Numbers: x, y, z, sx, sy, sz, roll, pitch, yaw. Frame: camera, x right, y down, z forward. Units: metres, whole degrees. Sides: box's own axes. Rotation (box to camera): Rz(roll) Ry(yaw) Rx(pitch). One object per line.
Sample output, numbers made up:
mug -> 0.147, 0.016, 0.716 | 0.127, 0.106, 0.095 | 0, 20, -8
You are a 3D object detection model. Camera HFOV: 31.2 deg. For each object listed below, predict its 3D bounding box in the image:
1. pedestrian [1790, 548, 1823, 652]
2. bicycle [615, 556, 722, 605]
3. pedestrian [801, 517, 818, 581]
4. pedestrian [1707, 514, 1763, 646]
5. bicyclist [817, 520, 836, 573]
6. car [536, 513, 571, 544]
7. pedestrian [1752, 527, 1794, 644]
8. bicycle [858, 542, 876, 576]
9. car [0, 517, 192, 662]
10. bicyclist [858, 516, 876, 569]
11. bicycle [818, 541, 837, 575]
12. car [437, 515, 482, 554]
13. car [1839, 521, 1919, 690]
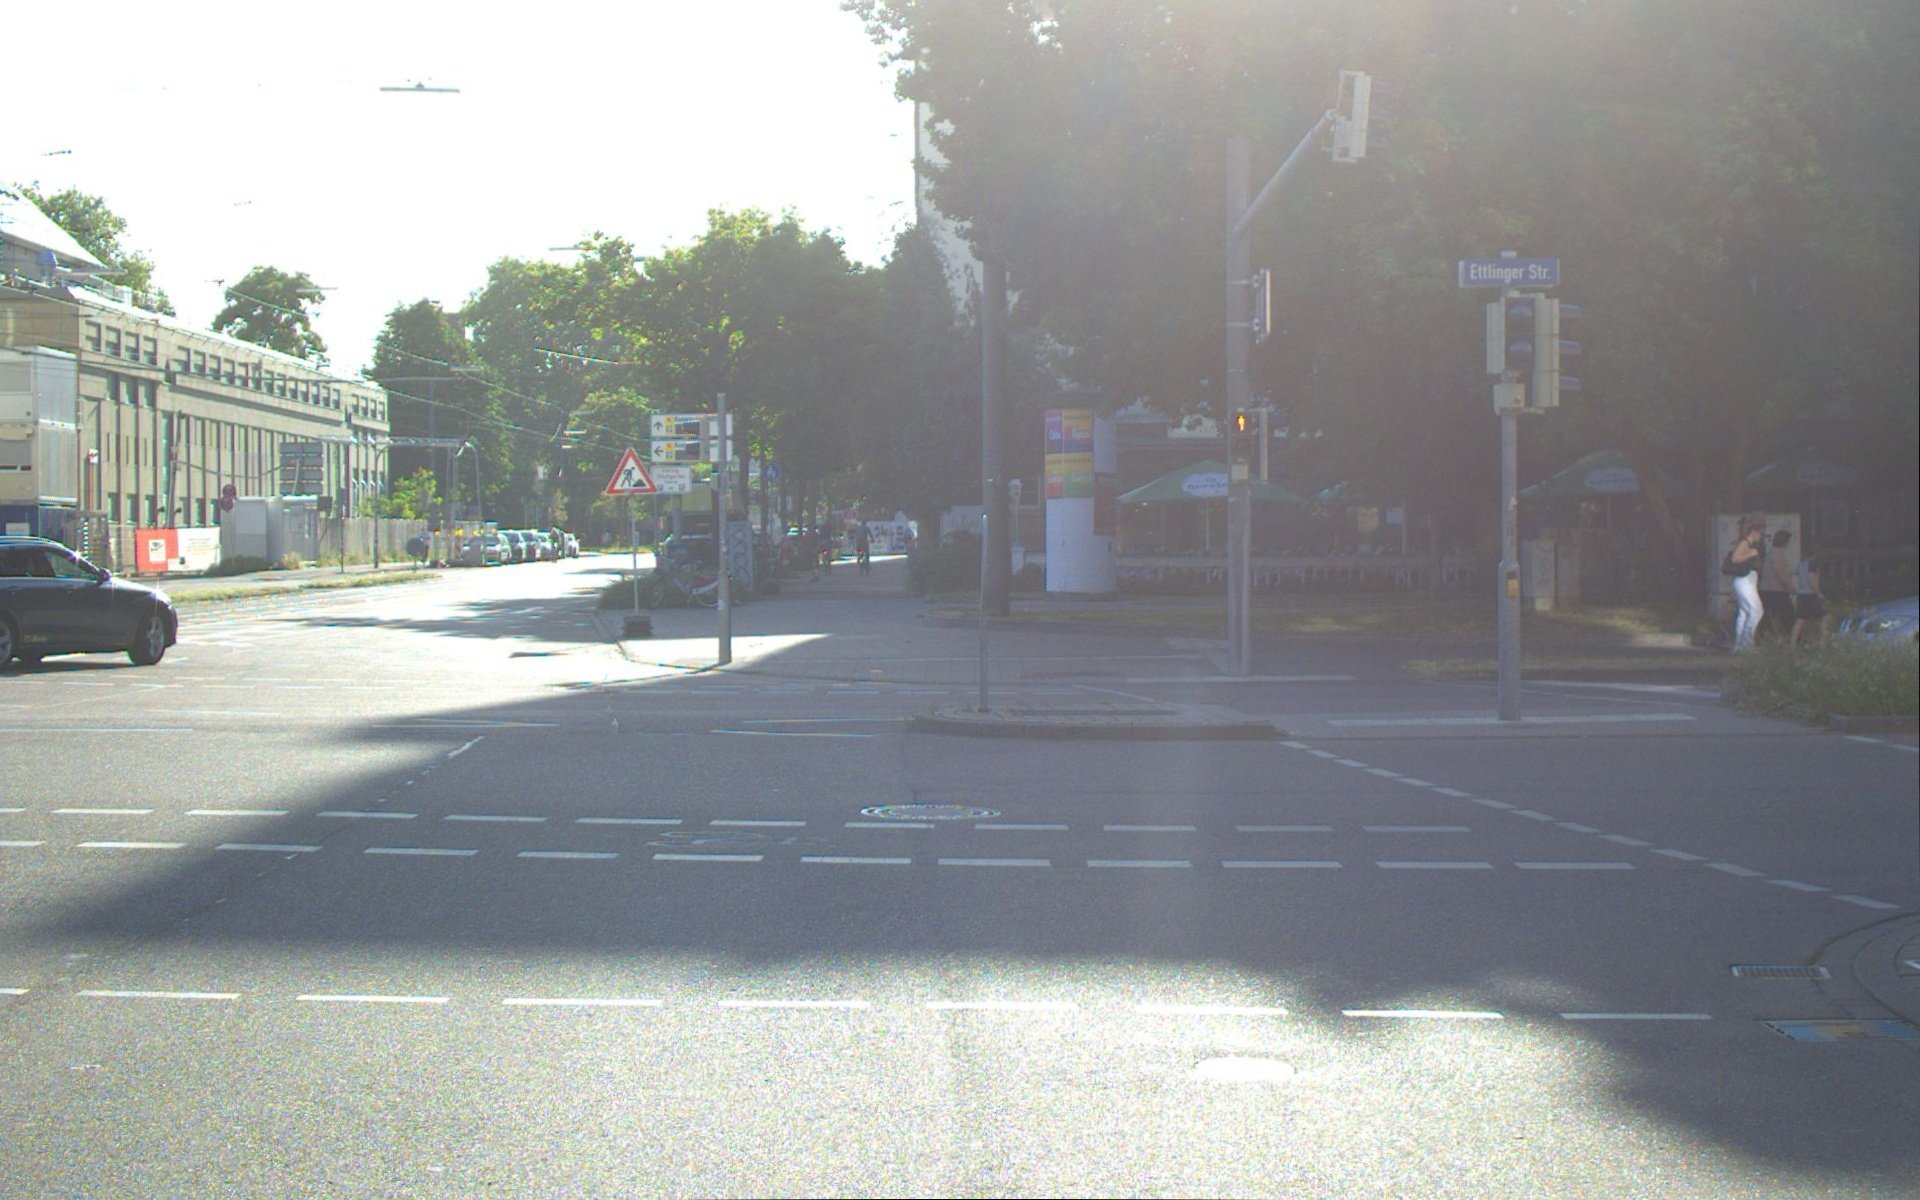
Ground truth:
pedestrian -> 10.741, -0.001, 43.645 | 0.317, 1.311, 0.345 | 1, 2, 2
bicycle -> -5.725, -0.382, 67.480 | 2.018, 0.888, 0.650 | -2, 0, 27
pedestrian -> -4.306, -1.456, 98.336 | 0.463, 1.807, 0.503 | -1, 1, -5
pedestrian -> 9.895, -0.258, 43.898 | 0.583, 1.657, 0.514 | 1, 2, 2
bicyclist -> -4.316, -1.733, 111.120 | 0.569, 1.685, 0.700 | 0, 1, -1
car -> -23.012, -4.027, 194.690 | 1.692, 1.712, 4.248 | 1, 1, -4
pedestrian -> 10.500, -0.193, 44.404 | 0.439, 1.498, 0.437 | 0, 1, 1
bicycle -> -3.001, -1.337, 111.068 | 0.575, 1.073, 1.831 | 0, 1, -1
car -> -10.779, -0.135, 38.323 | 1.894, 1.560, 4.802 | 0, 1, 23
bicyclist -> -3.000, -1.861, 110.994 | 0.569, 1.685, 0.700 | 0, 1, -1
bicycle -> -4.268, -1.357, 111.109 | 0.575, 1.073, 1.831 | 0, 1, -1
car -> -22.772, -2.962, 156.444 | 1.692, 1.712, 4.248 | 1, 1, -4
car -> 10.760, 0.020, 33.411 | 3.993, 1.605, 1.650 | -1, 1, -1
